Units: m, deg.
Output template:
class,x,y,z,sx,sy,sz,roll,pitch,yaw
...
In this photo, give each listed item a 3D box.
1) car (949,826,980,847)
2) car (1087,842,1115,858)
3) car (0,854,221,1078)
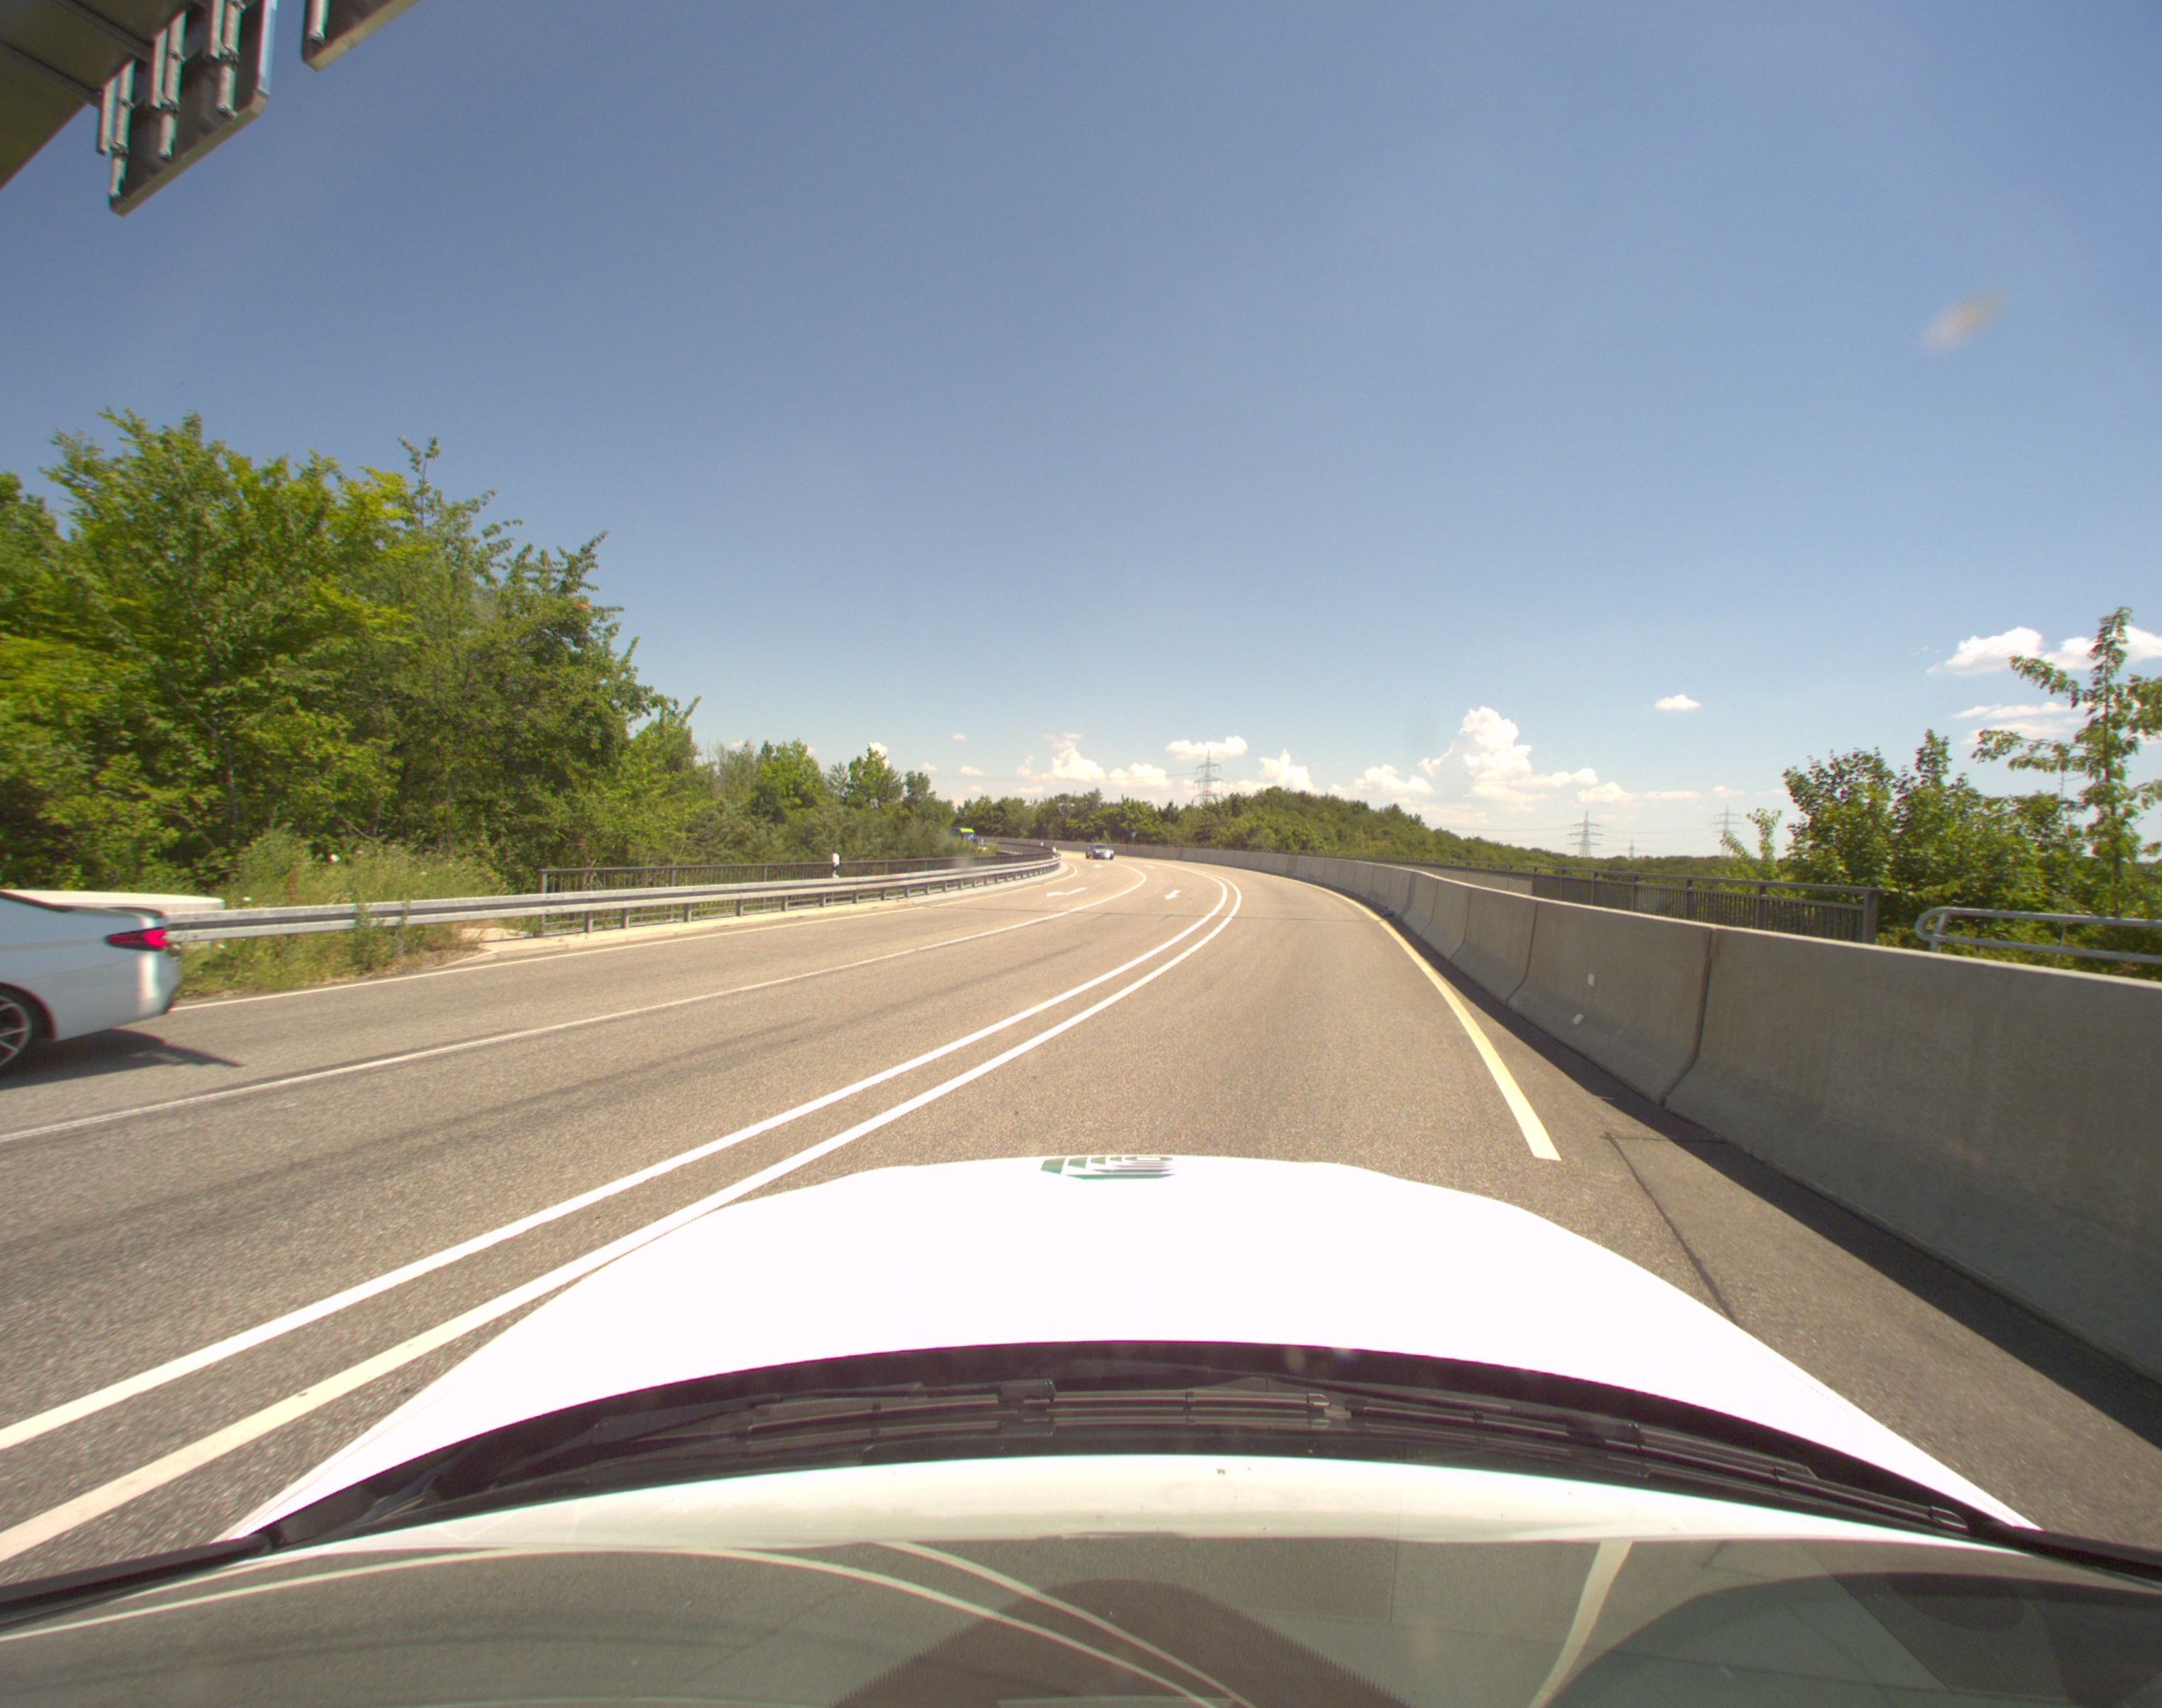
class,x,y,z,sx,sy,sz,roll,pitch,yaw
car,-15.258,-2.316,106.447,2.006,2.483,5.431,-9,7,-28
car,1.821,-0.406,75.092,1.779,1.384,4.268,1,1,-10
car,-8.593,0.744,4.553,1.821,1.484,4.866,0,0,26
